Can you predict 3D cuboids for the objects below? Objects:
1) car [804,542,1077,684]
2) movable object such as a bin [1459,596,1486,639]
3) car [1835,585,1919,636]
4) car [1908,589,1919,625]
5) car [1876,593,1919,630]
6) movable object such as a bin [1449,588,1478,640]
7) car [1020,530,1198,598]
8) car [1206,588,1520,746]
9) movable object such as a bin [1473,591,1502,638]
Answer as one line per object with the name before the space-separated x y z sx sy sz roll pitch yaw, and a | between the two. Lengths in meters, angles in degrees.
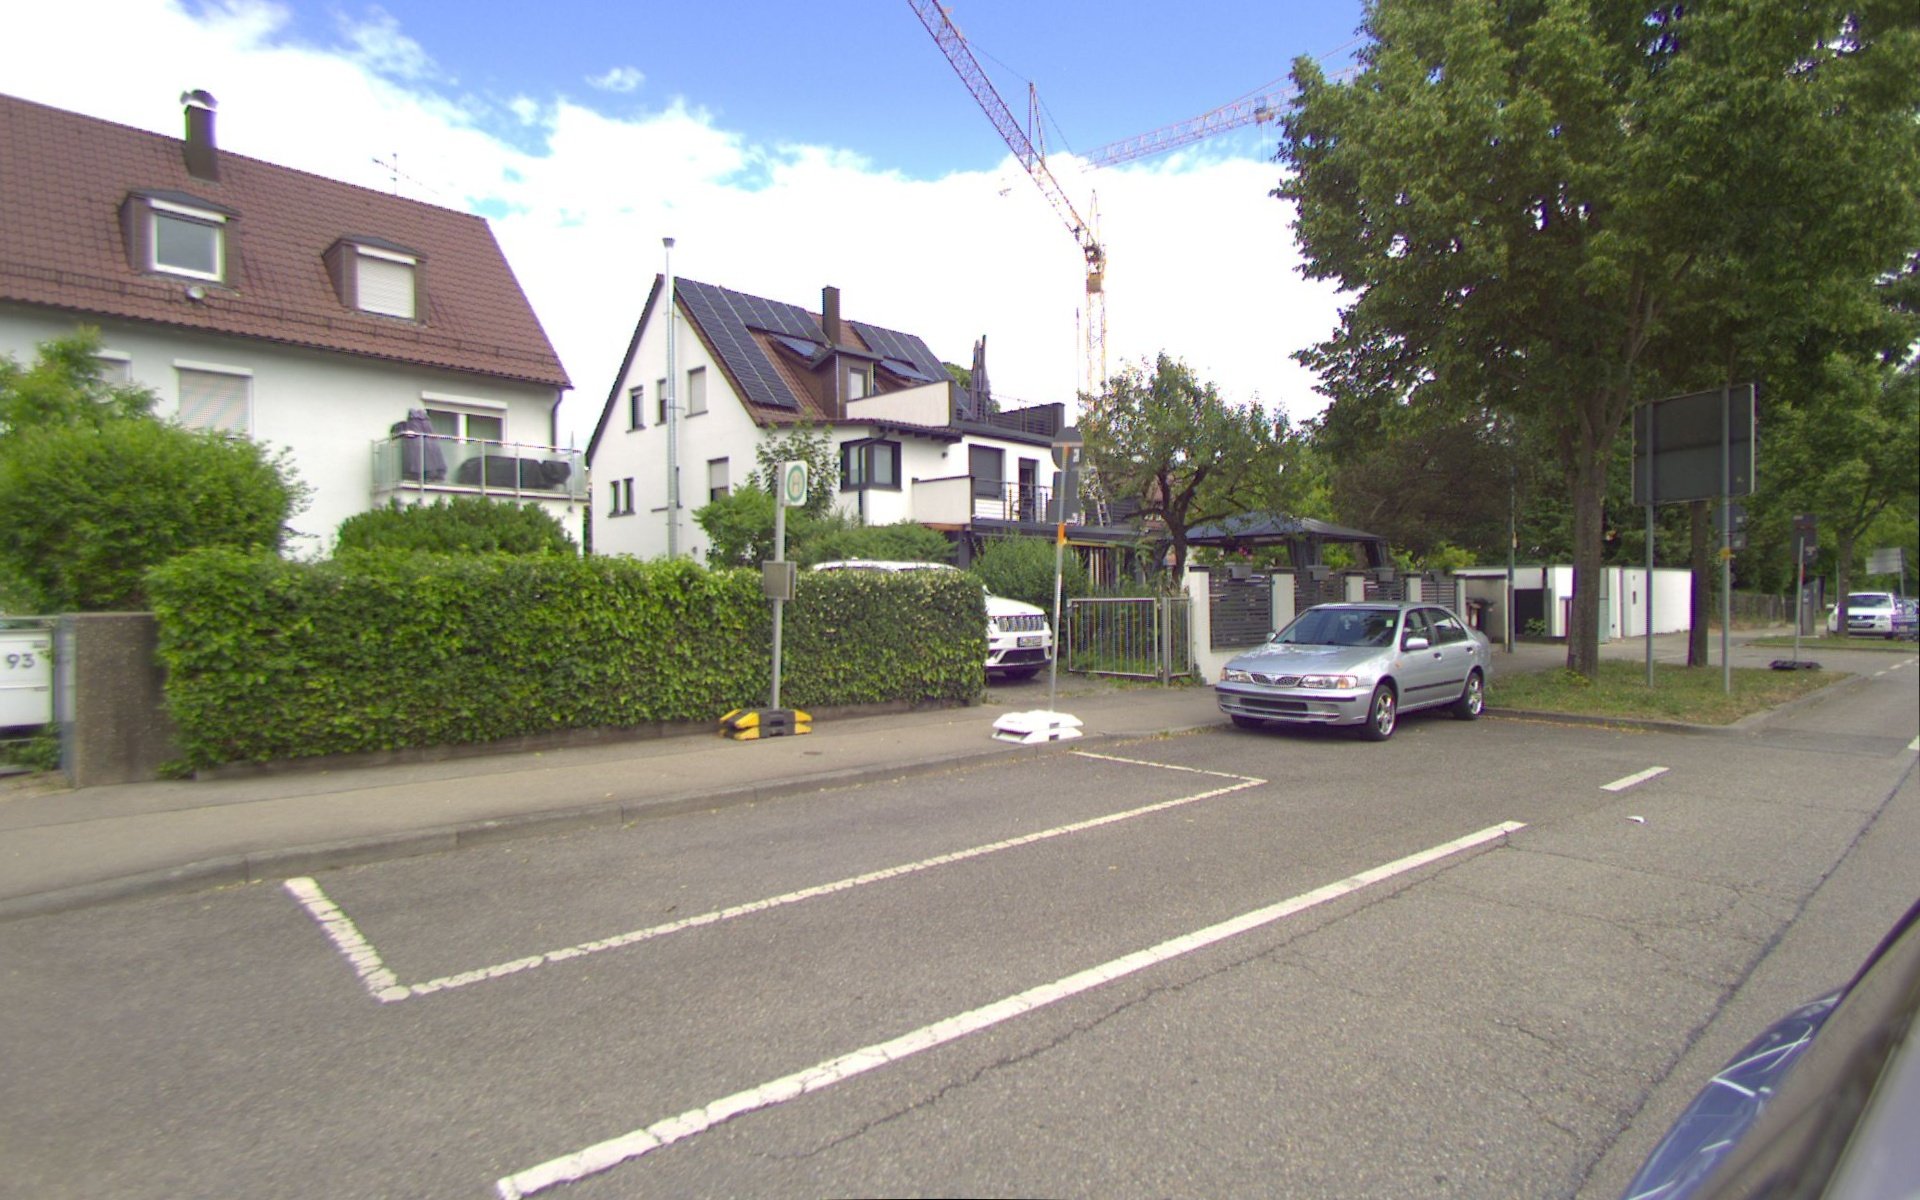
car | -0.390 0.149 15.316 1.967 1.846 3.989 0 0 -44
movable object such as a bin | 11.364 0.382 22.440 0.388 0.932 0.437 0 0 -41
car | 32.224 0.329 35.463 4.047 1.663 1.903 -1 1 -43
car | 46.464 0.286 47.889 4.606 1.631 1.864 -1 -1 -42
car | 38.656 0.422 40.889 4.521 1.435 1.867 0 0 -40
movable object such as a bin | 10.981 0.294 22.083 0.446 1.123 0.437 0 0 -41
car | 4.498 -1.047 31.156 5.178 1.927 2.019 0 1 41
car | 4.743 0.609 11.572 4.313 1.394 1.614 -2 2 -42
movable object such as a bin | 11.854 0.318 22.732 0.446 1.035 0.437 0 0 -41
